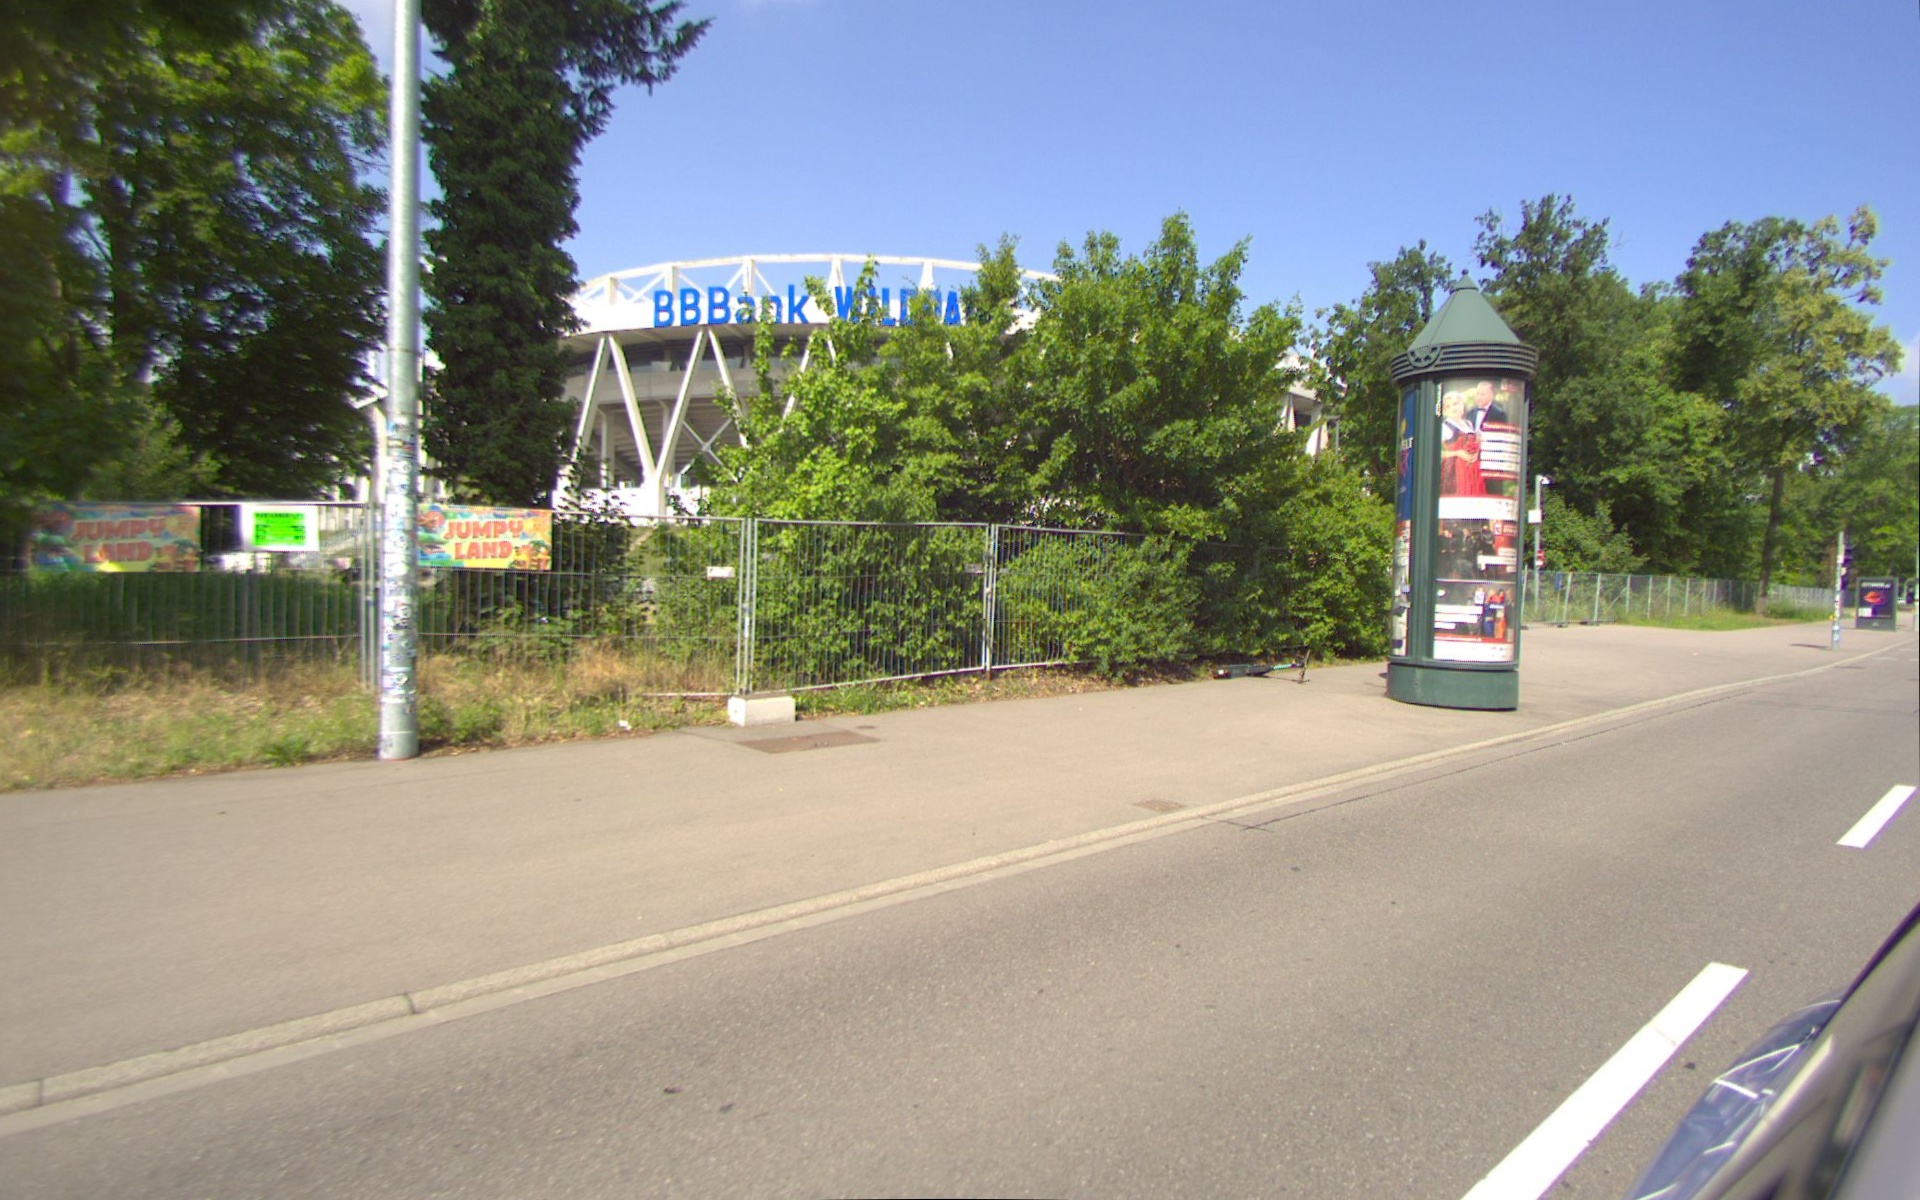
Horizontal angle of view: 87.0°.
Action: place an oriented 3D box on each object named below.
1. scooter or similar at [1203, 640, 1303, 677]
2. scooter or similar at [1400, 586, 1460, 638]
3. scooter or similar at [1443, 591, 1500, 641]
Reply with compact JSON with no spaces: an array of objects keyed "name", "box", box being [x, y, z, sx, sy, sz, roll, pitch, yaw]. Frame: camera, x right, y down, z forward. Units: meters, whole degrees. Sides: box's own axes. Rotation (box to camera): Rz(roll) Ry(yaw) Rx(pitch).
[{"name":"scooter or similar","box":[4.466,0.871,15.401,1.449,0.393,0.854,-2,4,-43]},{"name":"scooter or similar","box":[12.141,0.299,26.158,1.307,1.267,0.401,3,2,42]},{"name":"scooter or similar","box":[12.770,0.400,25.273,1.284,1.215,0.408,2,1,-15]}]
